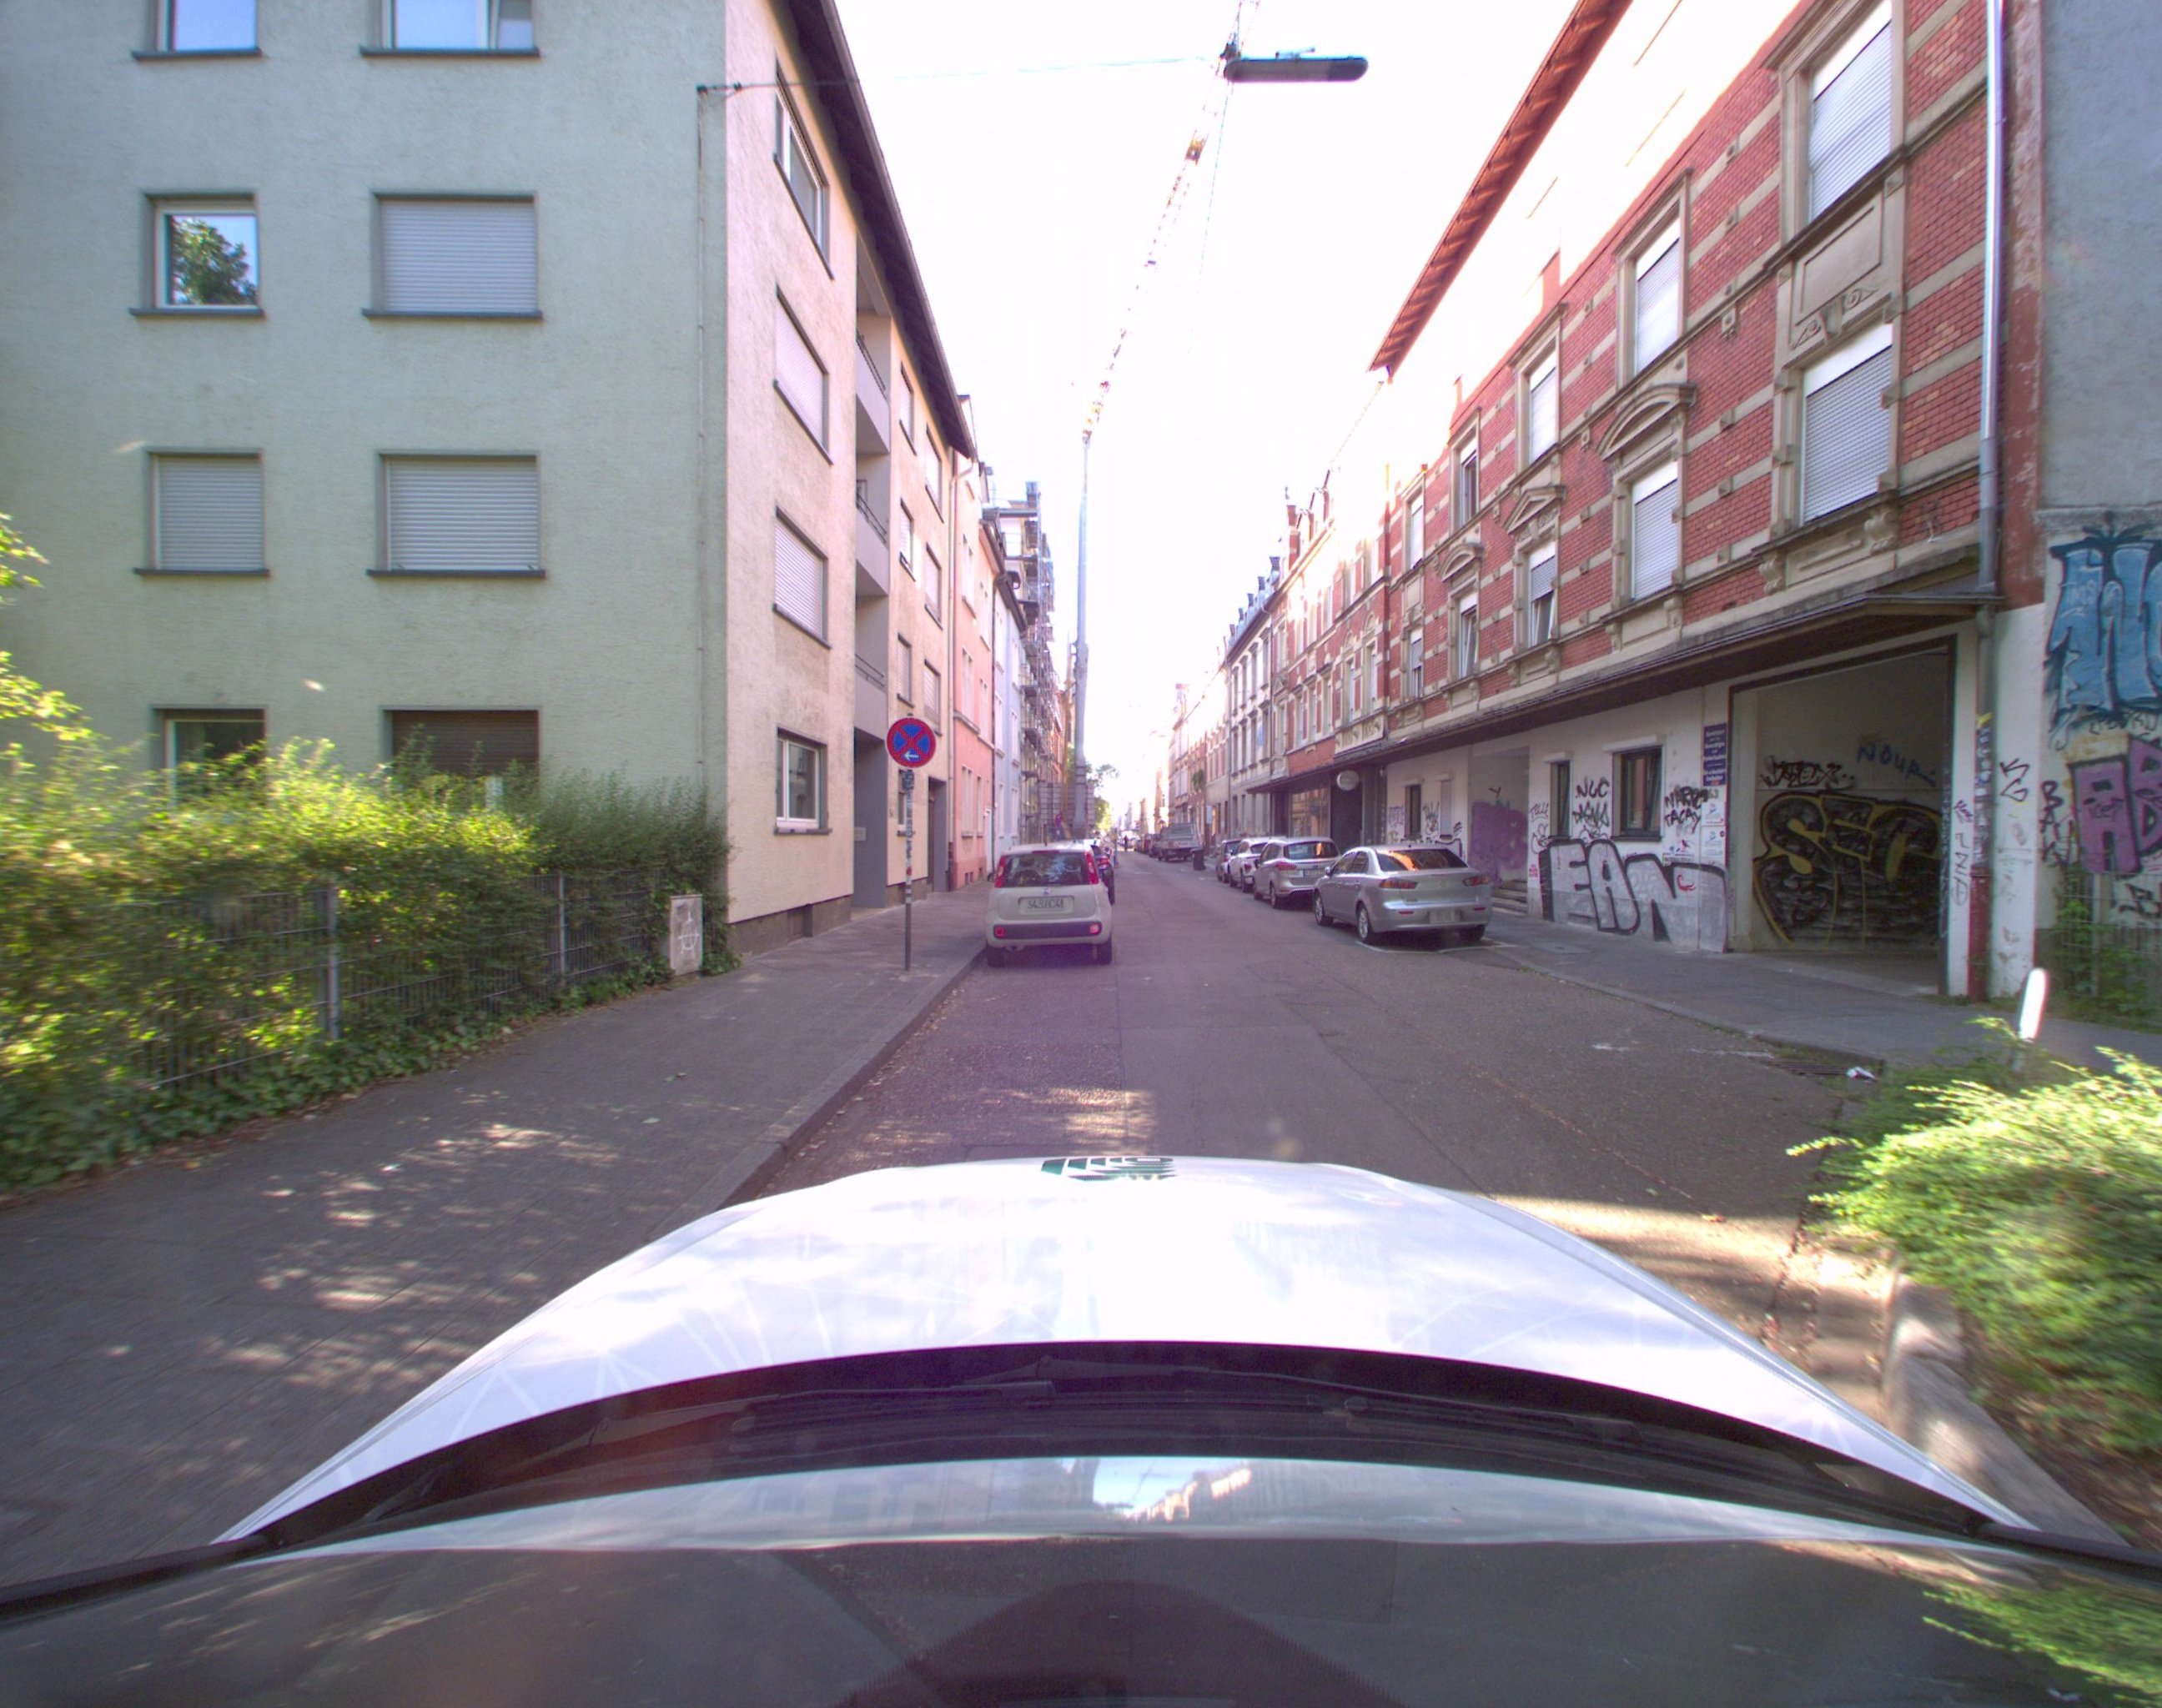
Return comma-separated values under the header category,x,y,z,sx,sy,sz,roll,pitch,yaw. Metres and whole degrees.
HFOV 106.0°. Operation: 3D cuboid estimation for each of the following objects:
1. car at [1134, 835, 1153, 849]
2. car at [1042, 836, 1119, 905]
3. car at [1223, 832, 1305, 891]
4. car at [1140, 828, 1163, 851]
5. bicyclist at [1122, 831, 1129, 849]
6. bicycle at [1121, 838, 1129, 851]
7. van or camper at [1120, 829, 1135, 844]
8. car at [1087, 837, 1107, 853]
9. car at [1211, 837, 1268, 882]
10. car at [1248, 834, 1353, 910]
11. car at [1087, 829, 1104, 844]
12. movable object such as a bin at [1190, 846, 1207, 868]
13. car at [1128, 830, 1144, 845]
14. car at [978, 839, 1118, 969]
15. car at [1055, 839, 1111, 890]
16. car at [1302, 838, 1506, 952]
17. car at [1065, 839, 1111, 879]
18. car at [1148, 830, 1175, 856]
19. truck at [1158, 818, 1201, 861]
category,x,y,z,sx,sy,sz,roll,pitch,yaw
car,6.831,-1.326,89.008,1.670,1.571,3.868,0,1,-1
car,-0.032,0.344,20.785,1.724,1.539,4.376,-1,1,-1
car,5.586,0.178,25.289,1.739,1.675,4.344,0,1,2
car,6.521,-1.347,75.520,1.670,2.031,3.868,0,1,-1
bicyclist,4.524,-1.447,83.130,0.727,1.761,0.836,1,2,1
bicycle,4.512,-0.976,83.140,0.722,1.186,2.044,1,2,2
van or camper,8.094,-3.019,142.050,1.989,2.508,4.198,-1,1,-3
car,1.460,-0.811,73.564,1.670,1.445,3.868,0,1,-1
car,5.858,0.141,30.503,1.590,1.560,3.817,0,1,3
car,5.163,0.358,19.650,1.633,1.656,3.872,0,1,2
car,1.445,-1.787,83.729,1.670,1.571,3.868,0,1,-1
movable object such as a bin,5.789,0.161,40.198,0.792,1.056,0.660,0,1,1
car,7.675,-2.318,113.433,1.987,2.013,4.000,0,1,0
car,-0.419,0.572,11.799,1.670,1.539,3.868,-1,1,-1
car,0.118,0.266,26.530,1.669,1.511,4.416,0,1,1
car,5.079,0.526,13.512,1.715,1.562,4.400,0,1,1
car,0.321,0.145,32.084,1.669,1.477,4.609,0,1,1
car,6.197,-0.857,63.029,1.670,1.962,4.108,0,1,-1
truck,6.284,-0.954,52.518,2.182,2.606,5.234,-1,1,0
